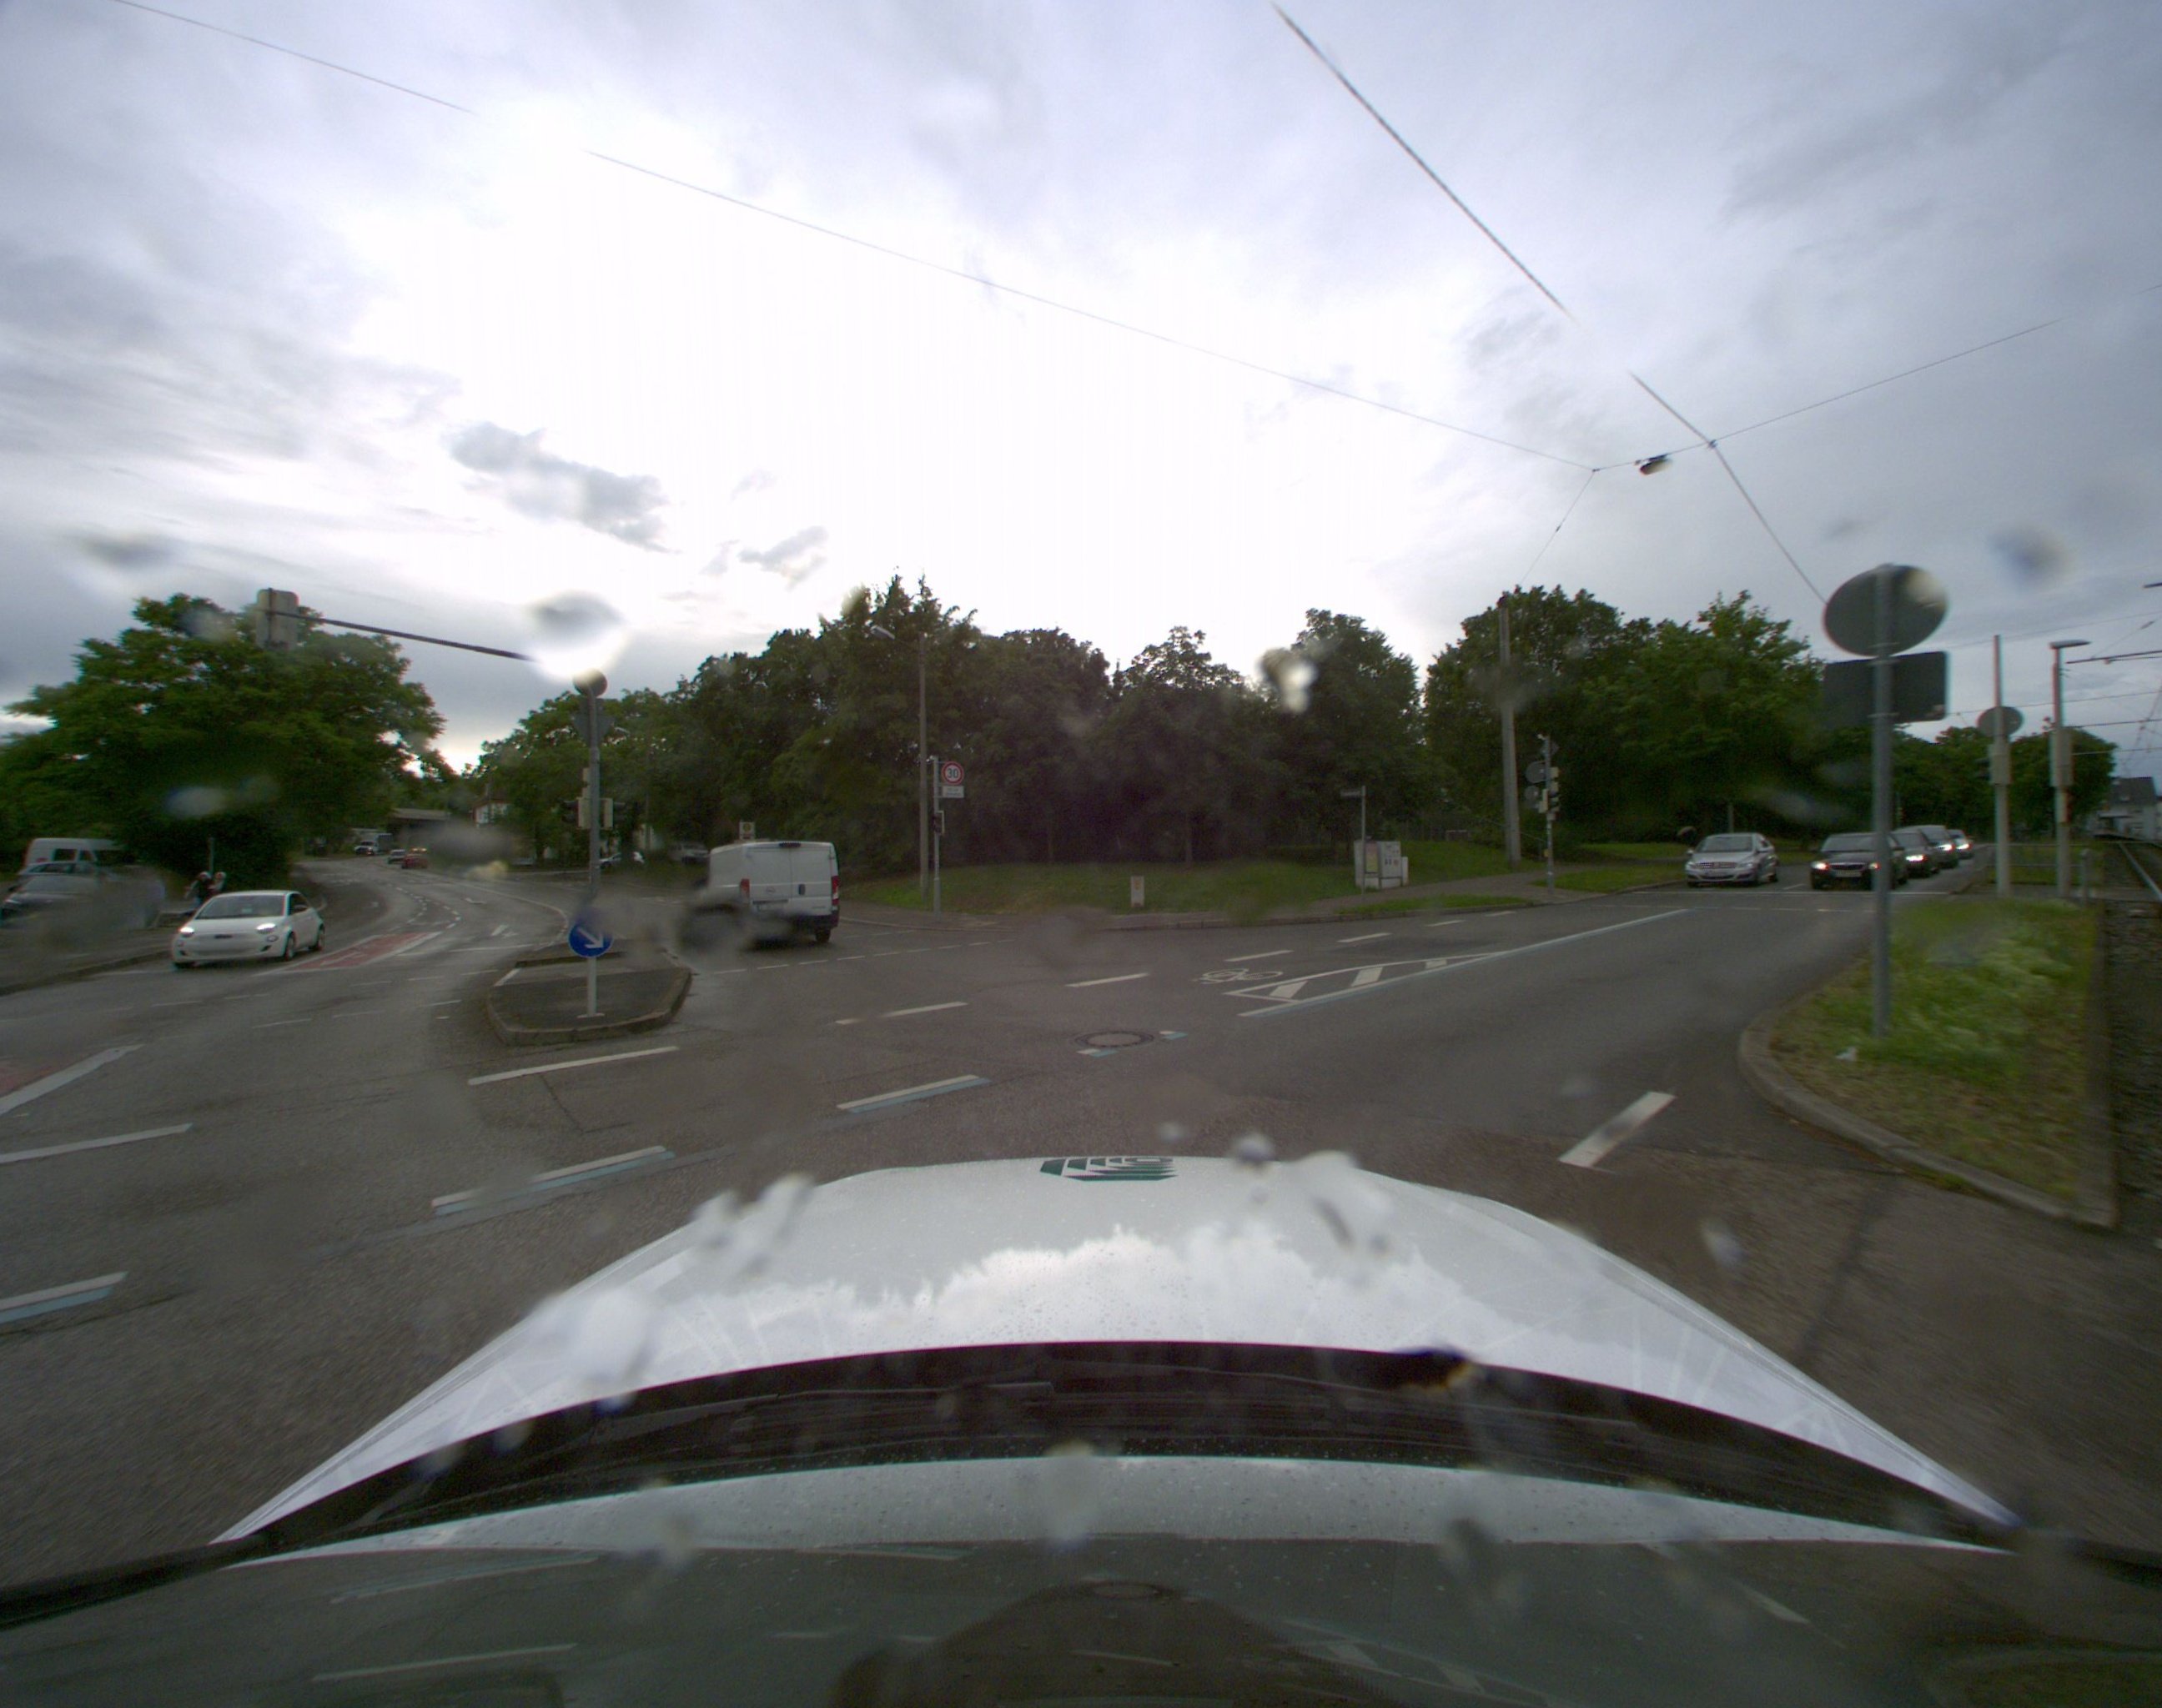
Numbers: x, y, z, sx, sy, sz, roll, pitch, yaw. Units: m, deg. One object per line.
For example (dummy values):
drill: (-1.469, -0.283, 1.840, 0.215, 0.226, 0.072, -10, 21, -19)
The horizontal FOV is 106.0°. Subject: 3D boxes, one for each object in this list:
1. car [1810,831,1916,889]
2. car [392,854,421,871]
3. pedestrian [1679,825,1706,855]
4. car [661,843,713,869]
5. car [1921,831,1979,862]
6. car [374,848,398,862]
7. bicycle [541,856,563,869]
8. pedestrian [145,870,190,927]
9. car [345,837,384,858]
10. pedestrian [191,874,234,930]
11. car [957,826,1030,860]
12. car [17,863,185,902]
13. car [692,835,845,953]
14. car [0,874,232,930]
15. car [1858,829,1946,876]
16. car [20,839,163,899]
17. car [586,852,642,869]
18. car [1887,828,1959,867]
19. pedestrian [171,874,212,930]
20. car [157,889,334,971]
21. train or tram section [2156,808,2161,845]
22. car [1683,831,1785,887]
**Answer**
car: (21.091, 0.127, 21.926, 3.811, 1.402, 1.588, -2, 0, -39)
car: (-65.004, 0.828, 78.472, 1.853, 1.533, 4.152, 1, 0, -43)
pedestrian: (32.976, -0.741, 43.931, 1.046, 1.600, 1.004, -1, 0, -44)
car: (-29.112, 0.157, 60.092, 2.011, 1.805, 5.085, 2, -1, -42)
car: (41.896, -0.382, 39.245, 3.811, 1.402, 1.587, -2, -1, -39)
car: (-79.021, 0.157, 92.546, 1.781, 1.510, 3.709, 1, 0, -45)
bicycle: (-47.320, 0.777, 72.856, 1.584, 1.114, 0.452, -2, 2, -41)
pedestrian: (-26.607, 1.285, 23.733, 0.660, 1.602, 0.671, 2, -1, -31)
car: (-110.047, -0.998, 125.187, 2.547, 3.018, 7.150, 1, 0, -25)
pedestrian: (-25.570, 1.396, 23.993, 0.660, 1.602, 0.671, 2, -1, -31)
car: (-5.743, -0.754, 53.714, 4.335, 1.778, 1.787, -6, 3, -24)
car: (-42.236, 1.219, 35.231, 4.124, 1.543, 1.987, 2, 0, -19)
car: (-7.322, 0.820, 18.713, 2.162, 2.283, 5.008, -2, 0, -34)
car: (-28.213, 1.332, 23.852, 1.732, 1.449, 4.254, 1, -1, 19)
car: (26.229, -0.074, 25.987, 3.810, 1.402, 1.588, -2, 0, -39)
car: (-46.121, 0.649, 37.992, 5.545, 2.533, 2.122, 2, 0, 16)
car: (-41.821, 0.566, 72.967, 1.682, 1.422, 4.025, -2, 0, 42)
car: (32.408, -0.271, 31.312, 3.810, 1.401, 1.588, -2, 2, -39)
pedestrian: (-26.340, 1.424, 24.131, 0.609, 1.602, 0.671, 2, -1, -31)
car: (-18.441, 1.583, 18.206, 1.697, 1.482, 3.961, -1, -1, -30)
train or tram section: (122.035, -2.991, 89.784, 15.110, 3.894, 4.028, -1, 1, -38)
car: (20.366, 0.137, 25.355, 3.883, 1.554, 1.704, -2, -2, -40)
